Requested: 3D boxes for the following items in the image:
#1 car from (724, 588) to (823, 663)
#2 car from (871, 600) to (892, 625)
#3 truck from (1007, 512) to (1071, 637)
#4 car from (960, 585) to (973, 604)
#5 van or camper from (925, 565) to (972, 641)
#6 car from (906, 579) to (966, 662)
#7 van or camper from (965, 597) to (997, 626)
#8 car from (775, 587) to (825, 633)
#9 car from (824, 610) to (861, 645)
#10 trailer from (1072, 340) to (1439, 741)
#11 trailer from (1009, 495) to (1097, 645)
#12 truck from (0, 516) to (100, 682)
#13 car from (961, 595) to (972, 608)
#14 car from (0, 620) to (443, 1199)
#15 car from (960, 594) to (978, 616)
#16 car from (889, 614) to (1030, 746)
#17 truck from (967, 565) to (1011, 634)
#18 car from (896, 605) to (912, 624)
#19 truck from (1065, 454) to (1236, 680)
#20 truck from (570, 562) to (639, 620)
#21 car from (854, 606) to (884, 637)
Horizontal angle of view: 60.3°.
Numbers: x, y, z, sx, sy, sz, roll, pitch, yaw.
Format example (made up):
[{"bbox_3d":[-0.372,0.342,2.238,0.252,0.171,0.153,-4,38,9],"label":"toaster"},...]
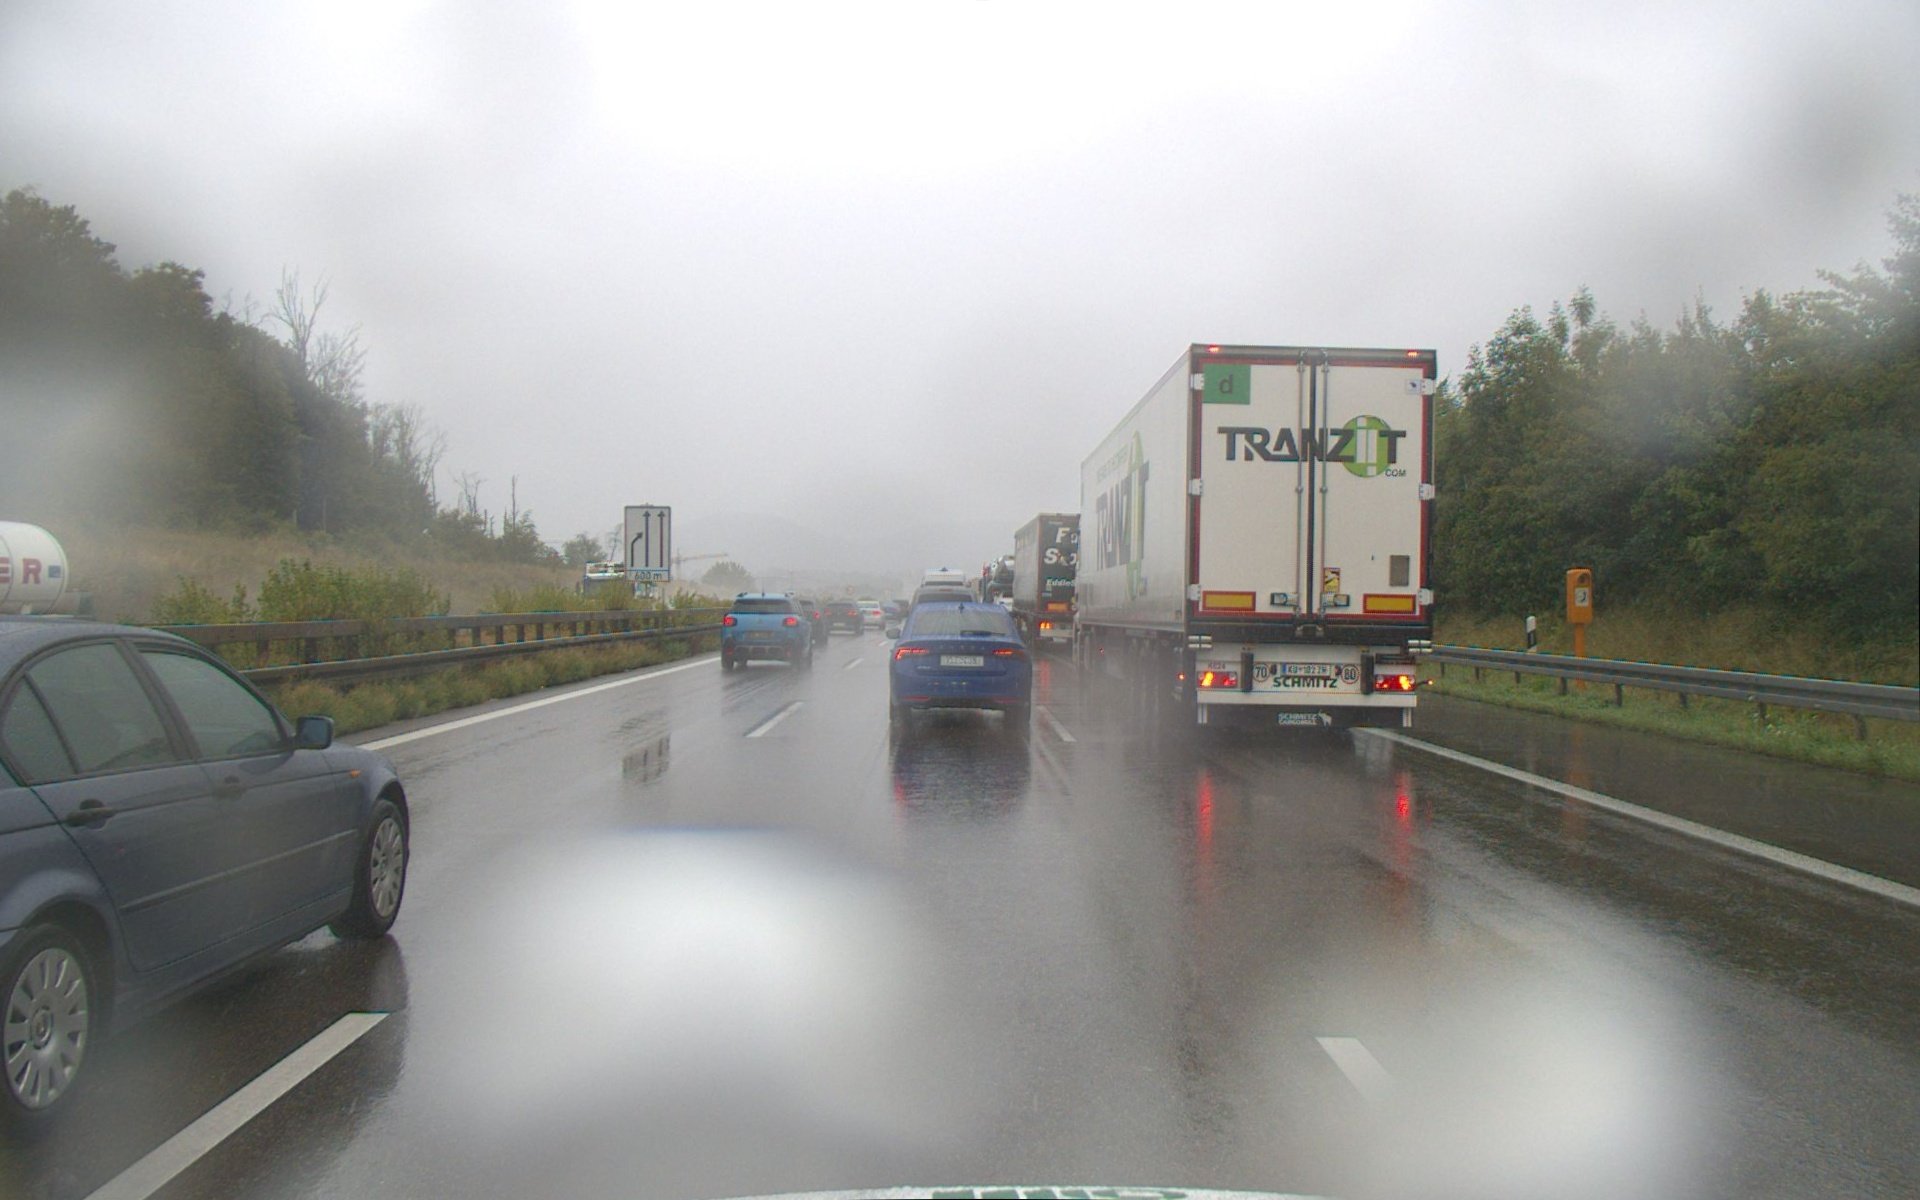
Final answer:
[{"bbox_3d":[-4.031,0.524,36.230,1.686,1.550,4.000,0,0,0],"label":"car"},{"bbox_3d":[-5.880,0.925,123.417,1.419,1.815,3.408,1,0,-1],"label":"car"},{"bbox_3d":[2.737,-0.873,58.269,2.005,4.266,3.999,0,0,-1],"label":"truck"},{"bbox_3d":[0.688,-0.602,173.857,1.308,1.923,3.039,-1,0,-1],"label":"car"},{"bbox_3d":[-0.461,0.106,65.104,1.761,2.855,4.767,0,0,-1],"label":"van or camper"},{"bbox_3d":[-0.539,0.438,37.675,1.309,1.811,3.321,0,0,-1],"label":"car"},{"bbox_3d":[1.240,0.646,98.811,1.736,1.653,4.483,0,1,-1],"label":"van or camper"},{"bbox_3d":[-5.187,0.312,53.778,1.331,1.456,3.363,0,0,-1],"label":"car"},{"bbox_3d":[-5.071,1.177,71.698,1.410,1.445,3.321,0,0,-1],"label":"car"},{"bbox_3d":[3.527,-0.638,24.236,2.577,4.083,14.627,0,0,-1],"label":"trailer"},{"bbox_3d":[2.803,-0.873,52.496,2.005,4.250,11.446,0,0,-1],"label":"trailer"},{"bbox_3d":[-20.583,-0.004,32.547,2.503,3.356,9.346,-1,-1,-1],"label":"truck"},{"bbox_3d":[0.842,0.207,228.338,1.419,1.815,3.408,1,0,-1],"label":"car"},{"bbox_3d":[-3.146,0.808,5.372,1.683,1.424,4.228,0,0,-1],"label":"car"},{"bbox_3d":[0.777,0.424,139.205,1.419,1.815,3.408,1,0,-1],"label":"car"},{"bbox_3d":[-0.005,0.932,20.977,1.602,1.470,4.000,0,0,0],"label":"car"},{"bbox_3d":[1.501,-0.063,88.314,1.953,3.481,8.029,0,1,-2],"label":"truck"},{"bbox_3d":[-5.552,1.426,164.384,1.419,1.815,3.408,1,0,-1],"label":"car"},{"bbox_3d":[3.441,-0.579,30.938,2.577,3.894,4.790,0,0,-1],"label":"truck"},{"bbox_3d":[-17.914,-0.419,83.463,2.430,2.767,4.527,-1,-1,0],"label":"truck"},{"bbox_3d":[-4.721,1.118,86.241,1.410,1.560,3.321,0,0,-1],"label":"car"}]
